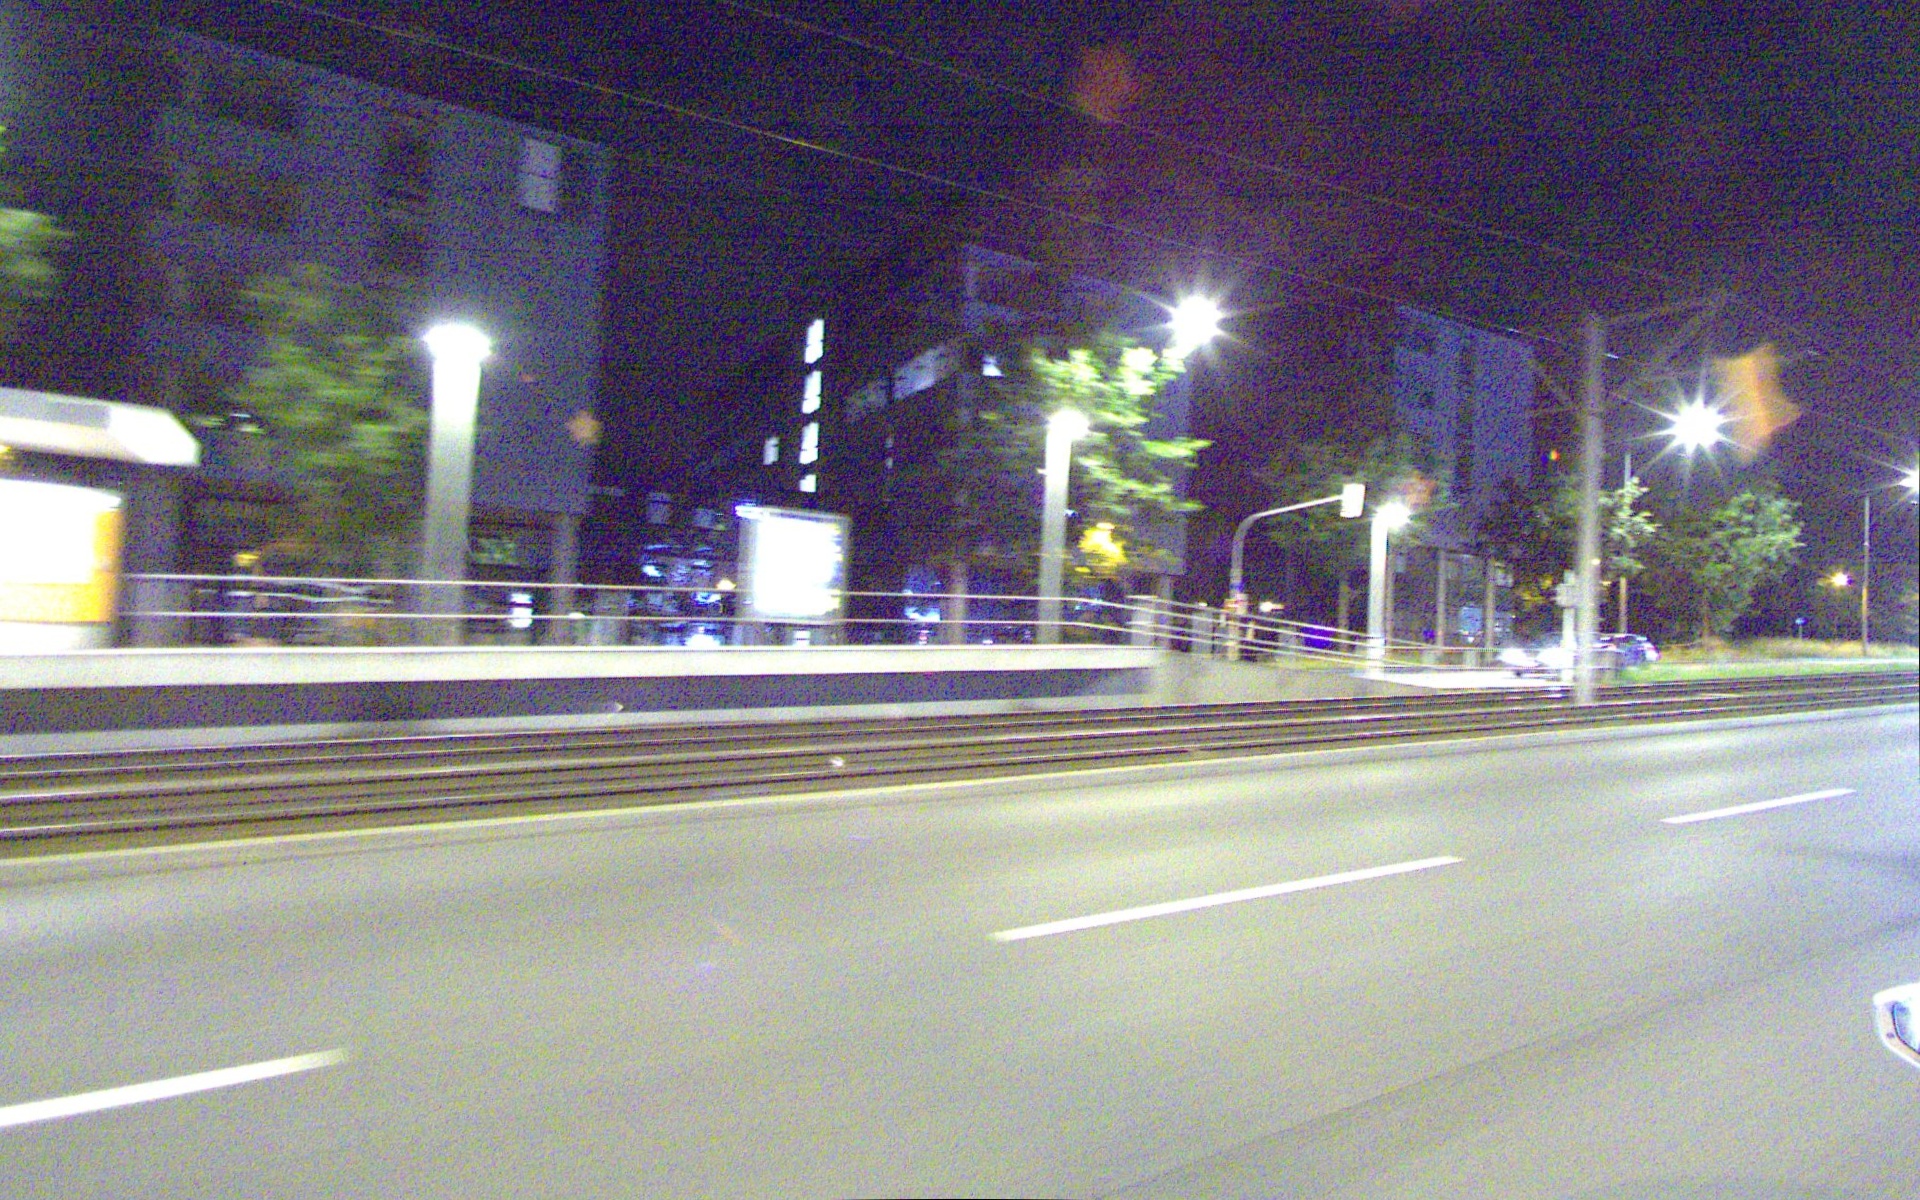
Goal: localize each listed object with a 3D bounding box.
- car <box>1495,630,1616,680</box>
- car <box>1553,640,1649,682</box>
[{"bbox_3d":[19.706,1.828,33.222,4.129,1.516,1.775,3,-2,-32],"label":"car"},{"bbox_3d":[25.468,2.419,39.875,3.865,1.536,1.652,2,-1,-30],"label":"car"}]
